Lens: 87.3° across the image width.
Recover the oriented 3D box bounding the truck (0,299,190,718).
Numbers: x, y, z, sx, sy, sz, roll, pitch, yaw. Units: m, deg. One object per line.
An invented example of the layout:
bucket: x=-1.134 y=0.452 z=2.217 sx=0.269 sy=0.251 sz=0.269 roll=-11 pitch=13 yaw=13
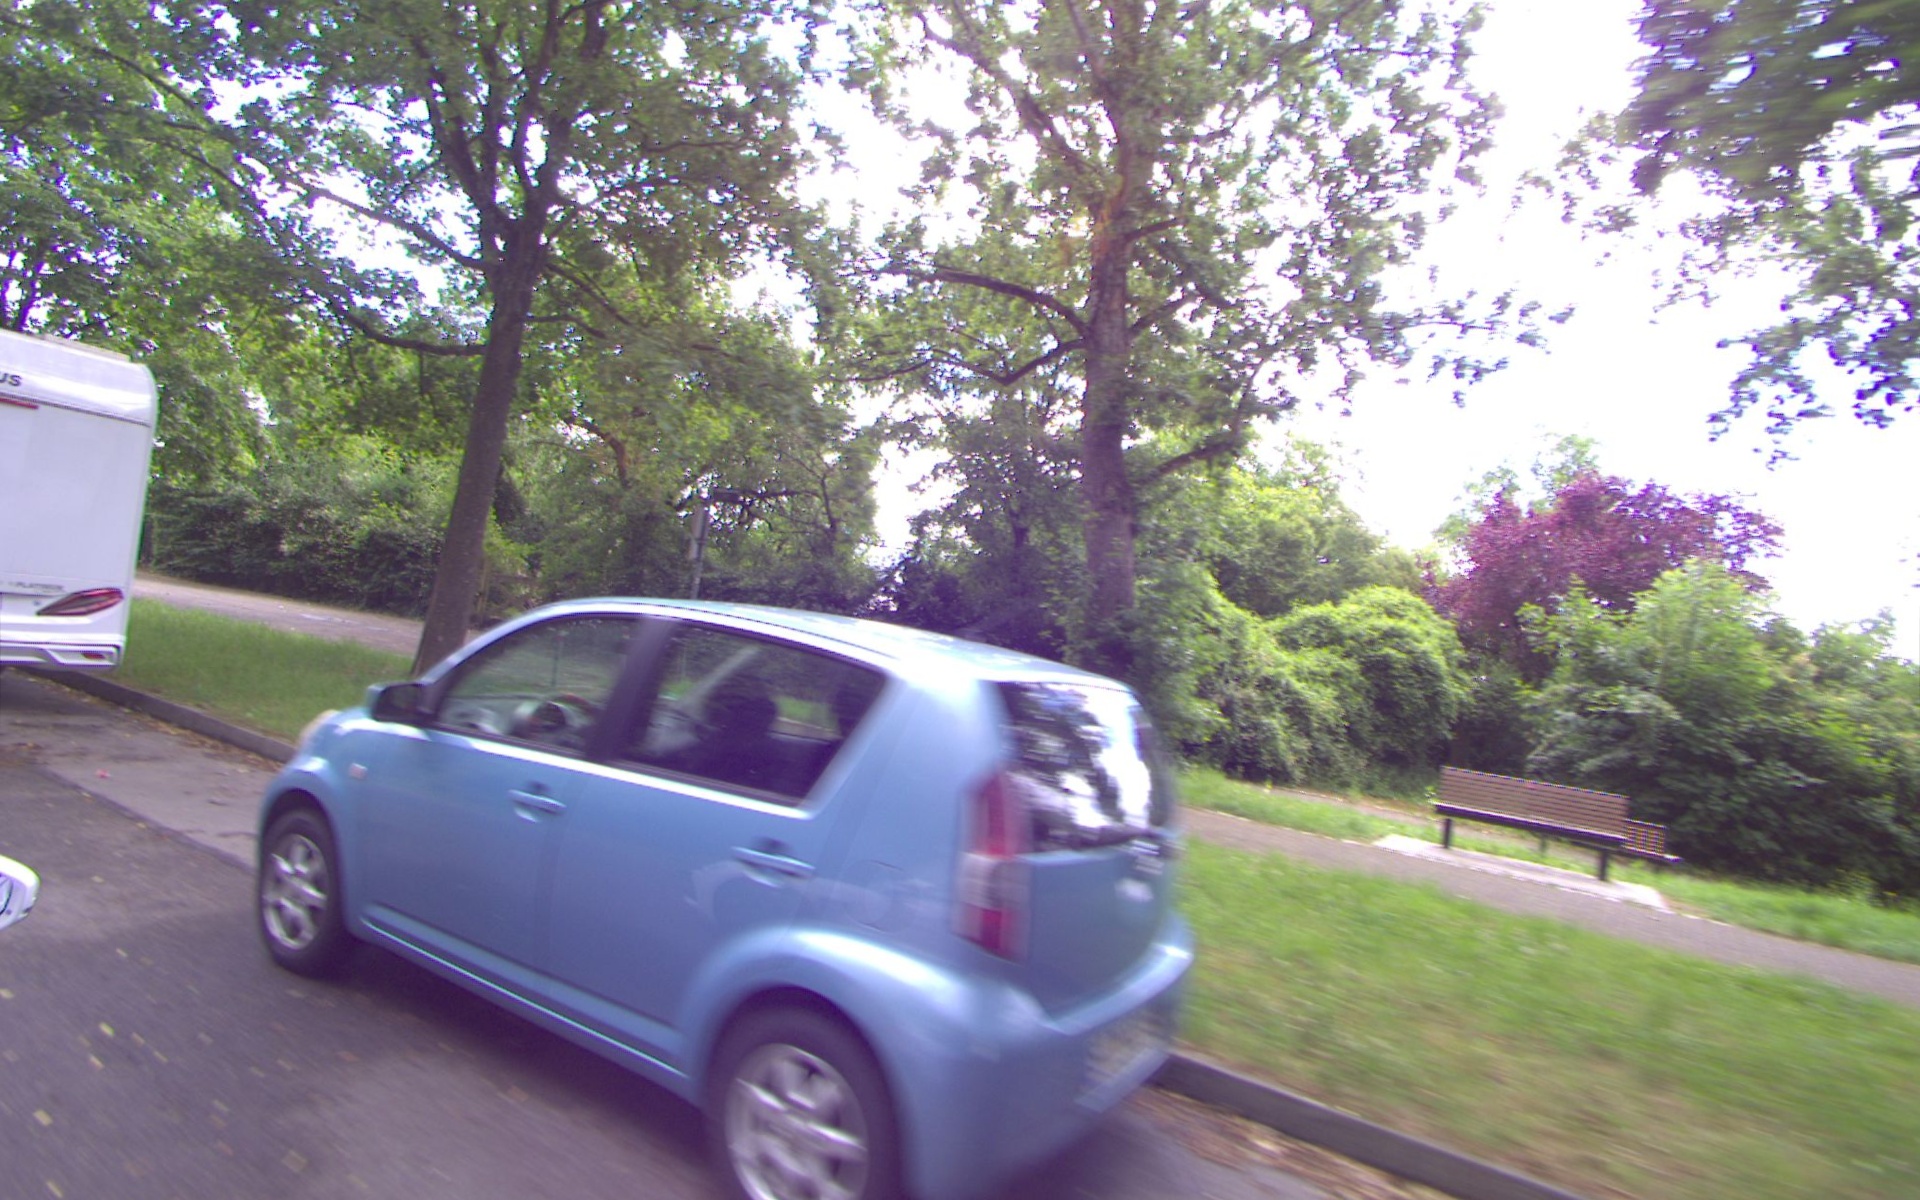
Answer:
truck: x=-9.912 y=-1.023 z=8.729 sx=6.912 sy=2.968 sz=2.309 roll=7 pitch=0 yaw=29

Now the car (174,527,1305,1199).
car: x=-0.922 y=0.762 z=3.644 sx=3.705 sy=1.565 sz=1.699 roll=7 pitch=-2 yaw=31
